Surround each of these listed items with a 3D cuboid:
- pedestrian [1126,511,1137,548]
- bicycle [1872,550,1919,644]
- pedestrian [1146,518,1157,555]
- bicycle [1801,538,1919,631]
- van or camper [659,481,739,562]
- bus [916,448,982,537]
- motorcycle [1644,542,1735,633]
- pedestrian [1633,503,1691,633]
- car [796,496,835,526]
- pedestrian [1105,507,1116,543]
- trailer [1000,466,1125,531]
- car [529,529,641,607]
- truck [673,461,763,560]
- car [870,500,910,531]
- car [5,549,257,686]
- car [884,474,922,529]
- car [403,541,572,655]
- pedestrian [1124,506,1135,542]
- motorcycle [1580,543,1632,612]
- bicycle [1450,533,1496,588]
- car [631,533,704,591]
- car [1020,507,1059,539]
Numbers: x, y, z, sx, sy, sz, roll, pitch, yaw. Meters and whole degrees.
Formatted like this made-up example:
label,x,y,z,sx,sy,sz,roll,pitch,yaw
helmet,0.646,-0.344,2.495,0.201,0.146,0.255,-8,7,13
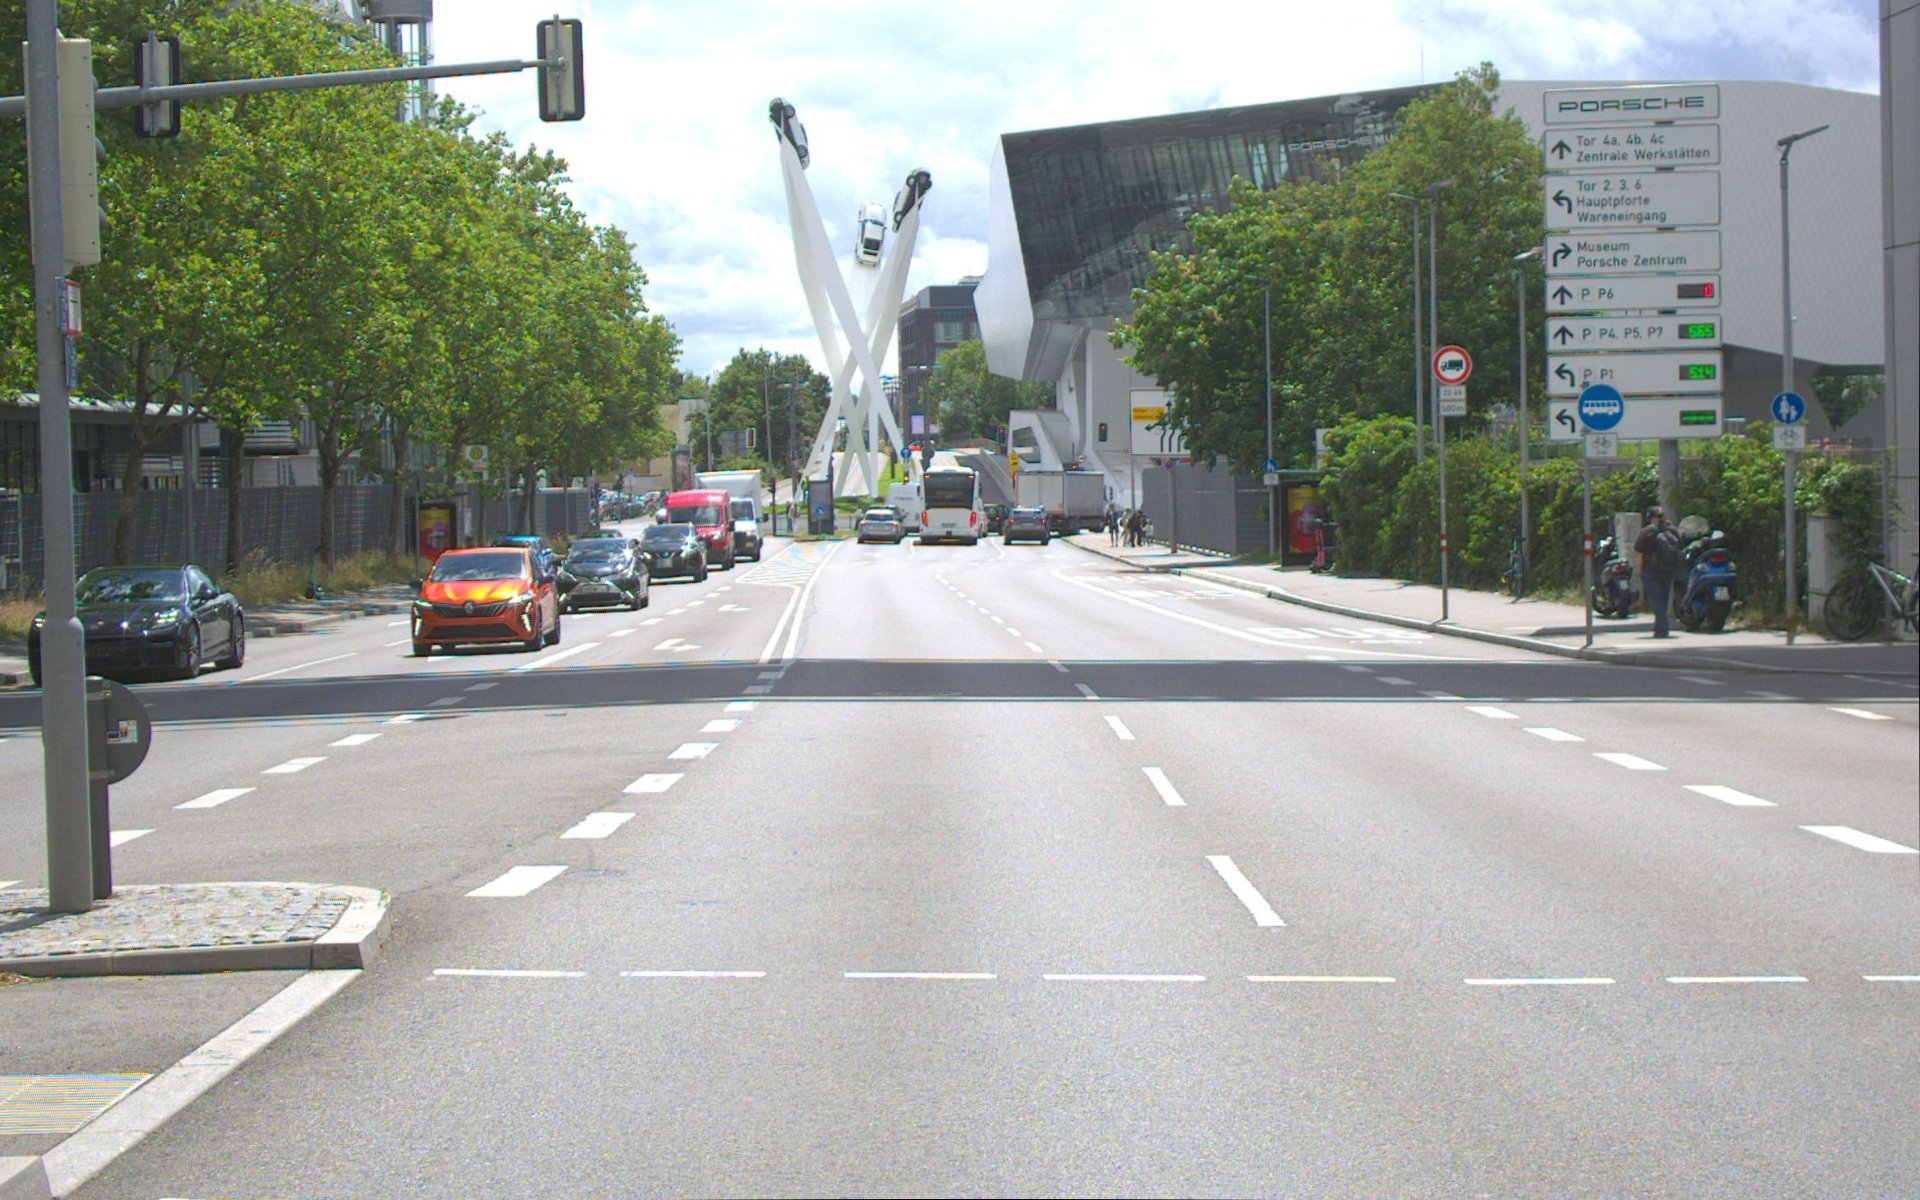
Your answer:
label,x,y,z,sx,sy,sz,roll,pitch,yaw
pedestrian,6.640,-2.730,133.435,0.386,1.416,0.423,1,0,0
bicycle,11.659,-0.024,39.549,2.222,1.083,0.476,1,1,35
pedestrian,7.433,-2.455,133.599,0.386,1.416,0.423,1,0,0
bicycle,11.168,-0.181,40.879,2.222,1.083,0.476,1,1,35
van or camper,-8.090,-2.441,107.129,2.047,2.458,5.595,0,1,0
bus,-0.454,-4.641,149.955,2.787,3.673,6.943,1,1,0
motorcycle,9.543,-0.170,45.033,0.418,1.162,1.957,1,1,-11
pedestrian,8.938,-0.407,43.774,0.533,1.635,0.658,1,0,-6
car,-6.533,-4.039,155.701,1.557,1.269,3.701,-3,1,0
pedestrian,5.977,-2.993,136.733,0.386,1.416,0.423,1,0,0
trailer,5.227,-5.046,172.048,3.322,2.984,10.366,1,1,19
car,-7.459,-0.659,68.639,1.769,1.415,3.701,-3,1,0
truck,-8.379,-3.068,119.659,2.591,3.312,7.079,1,1,0
car,-3.025,-3.647,148.682,1.557,1.269,3.701,-3,1,1
car,-10.269,0.173,42.955,1.917,1.483,4.772,-3,1,0
car,-2.823,-4.893,171.153,1.843,2.614,4.000,1,1,-1
car,-6.516,-0.061,47.729,1.769,1.415,3.701,-3,1,0
pedestrian,6.695,-3.015,136.026,0.386,1.416,0.423,1,0,0
motorcycle,9.763,-0.349,52.016,0.457,1.019,1.912,1,1,1
bicycle,9.737,-0.747,65.274,0.418,1.019,1.913,1,1,-5
car,-7.838,-1.036,92.229,1.557,1.443,3.773,-3,1,0
car,3.367,-3.277,146.112,1.557,1.269,3.701,-3,1,1
